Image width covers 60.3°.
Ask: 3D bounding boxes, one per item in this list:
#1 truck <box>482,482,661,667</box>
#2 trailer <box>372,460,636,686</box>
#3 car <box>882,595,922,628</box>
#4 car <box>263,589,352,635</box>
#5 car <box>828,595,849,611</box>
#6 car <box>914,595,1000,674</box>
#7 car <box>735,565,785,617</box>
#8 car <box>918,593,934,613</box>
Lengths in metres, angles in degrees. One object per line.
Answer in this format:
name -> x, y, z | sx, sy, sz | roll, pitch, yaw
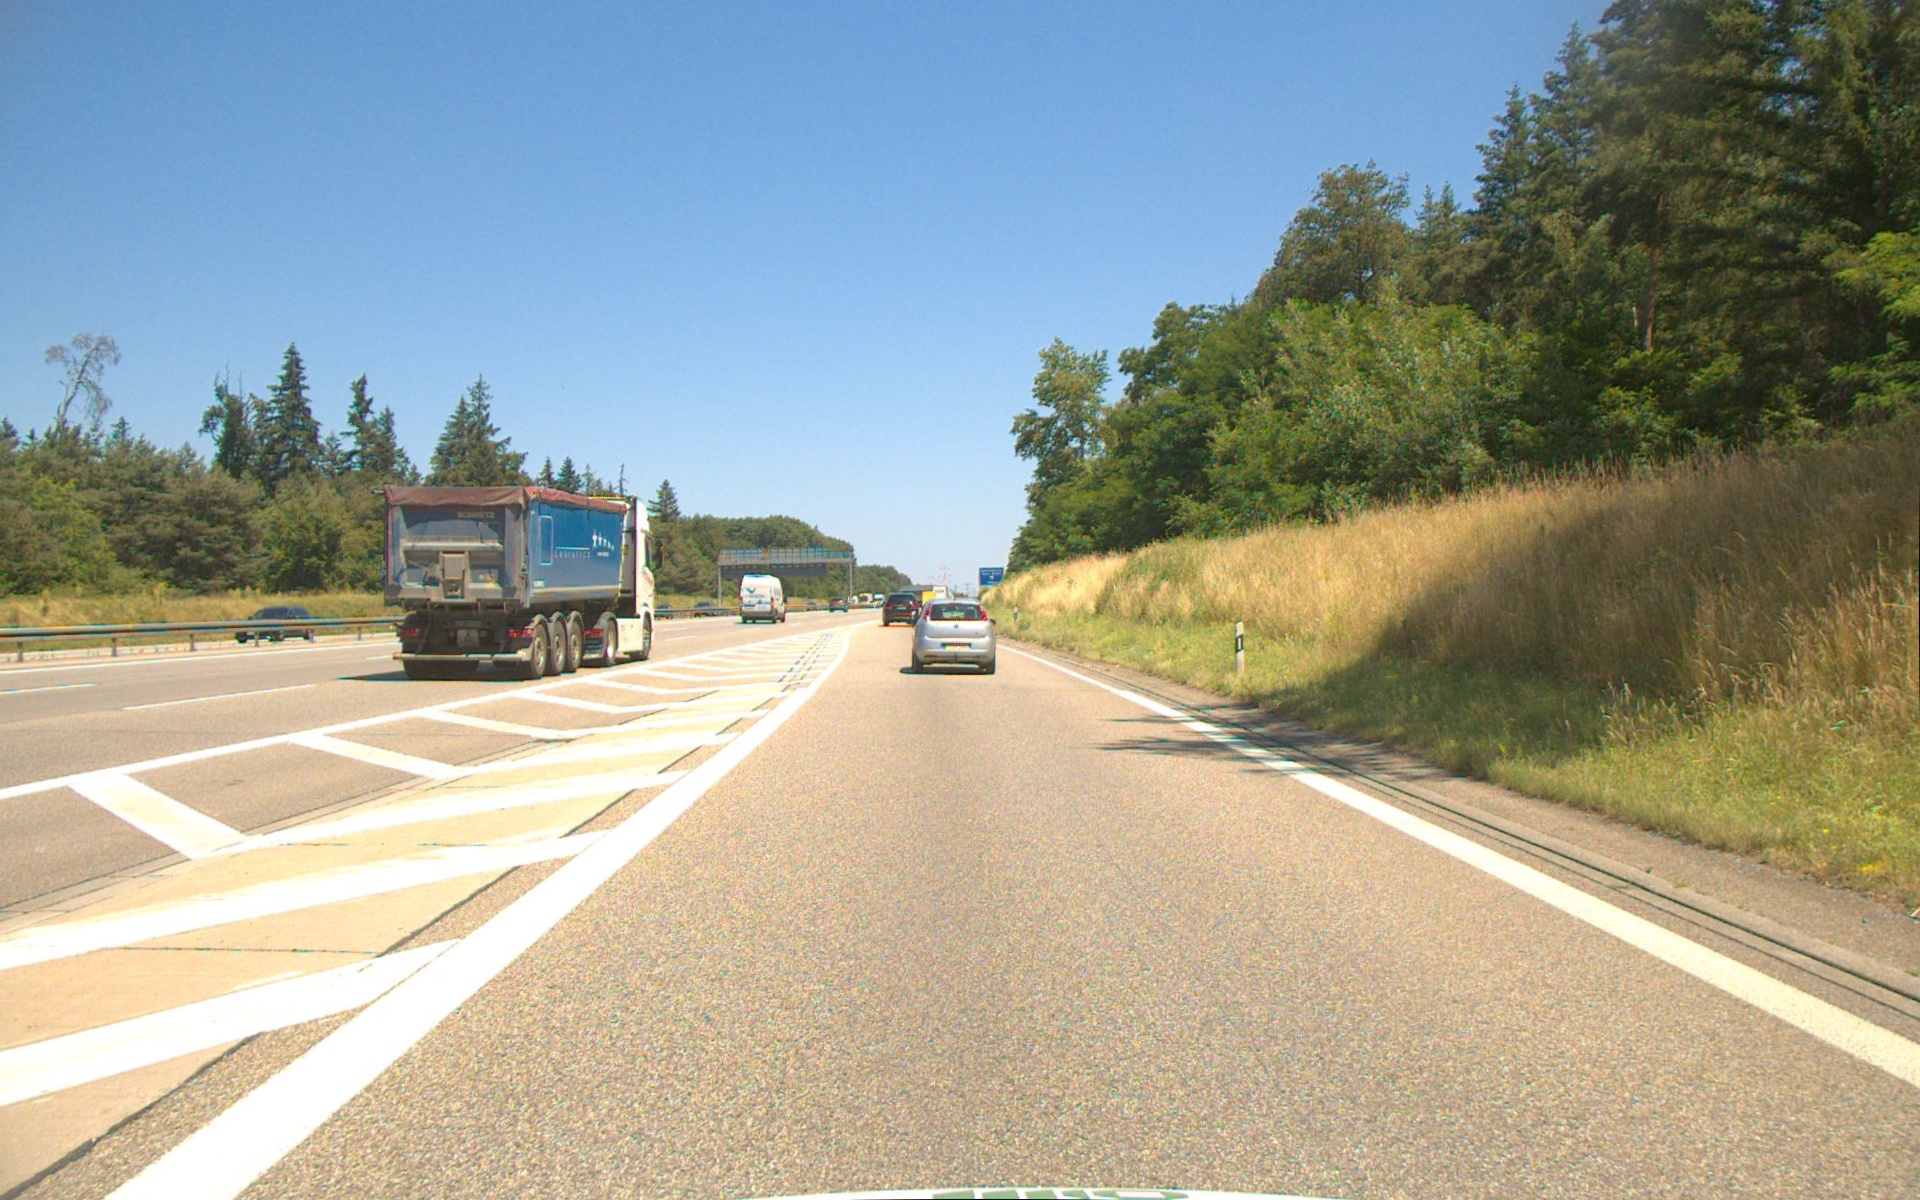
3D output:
truck -> -8.646, -0.551, 37.465 | 2.629, 3.824, 5.944 | 0, 0, 0
trailer -> -8.658, -0.486, 32.730 | 2.681, 3.824, 9.108 | 0, 0, 0
car -> -3.094, 0.617, 88.836 | 1.793, 1.701, 4.001 | 1, 0, 3
car -> -28.098, 0.488, 71.351 | 1.952, 1.919, 4.509 | 0, 0, 1
car -> -13.817, 0.340, 187.854 | 2.113, 1.846, 4.859 | 0, 0, -1
car -> -0.090, 0.664, 34.192 | 1.684, 1.517, 3.736 | 0, 0, -1
car -> -11.905, -0.533, 98.898 | 2.213, 3.002, 6.113 | 1, 0, 0
car -> -3.651, 0.327, 177.991 | 1.578, 2.049, 4.000 | 1, 0, 0
